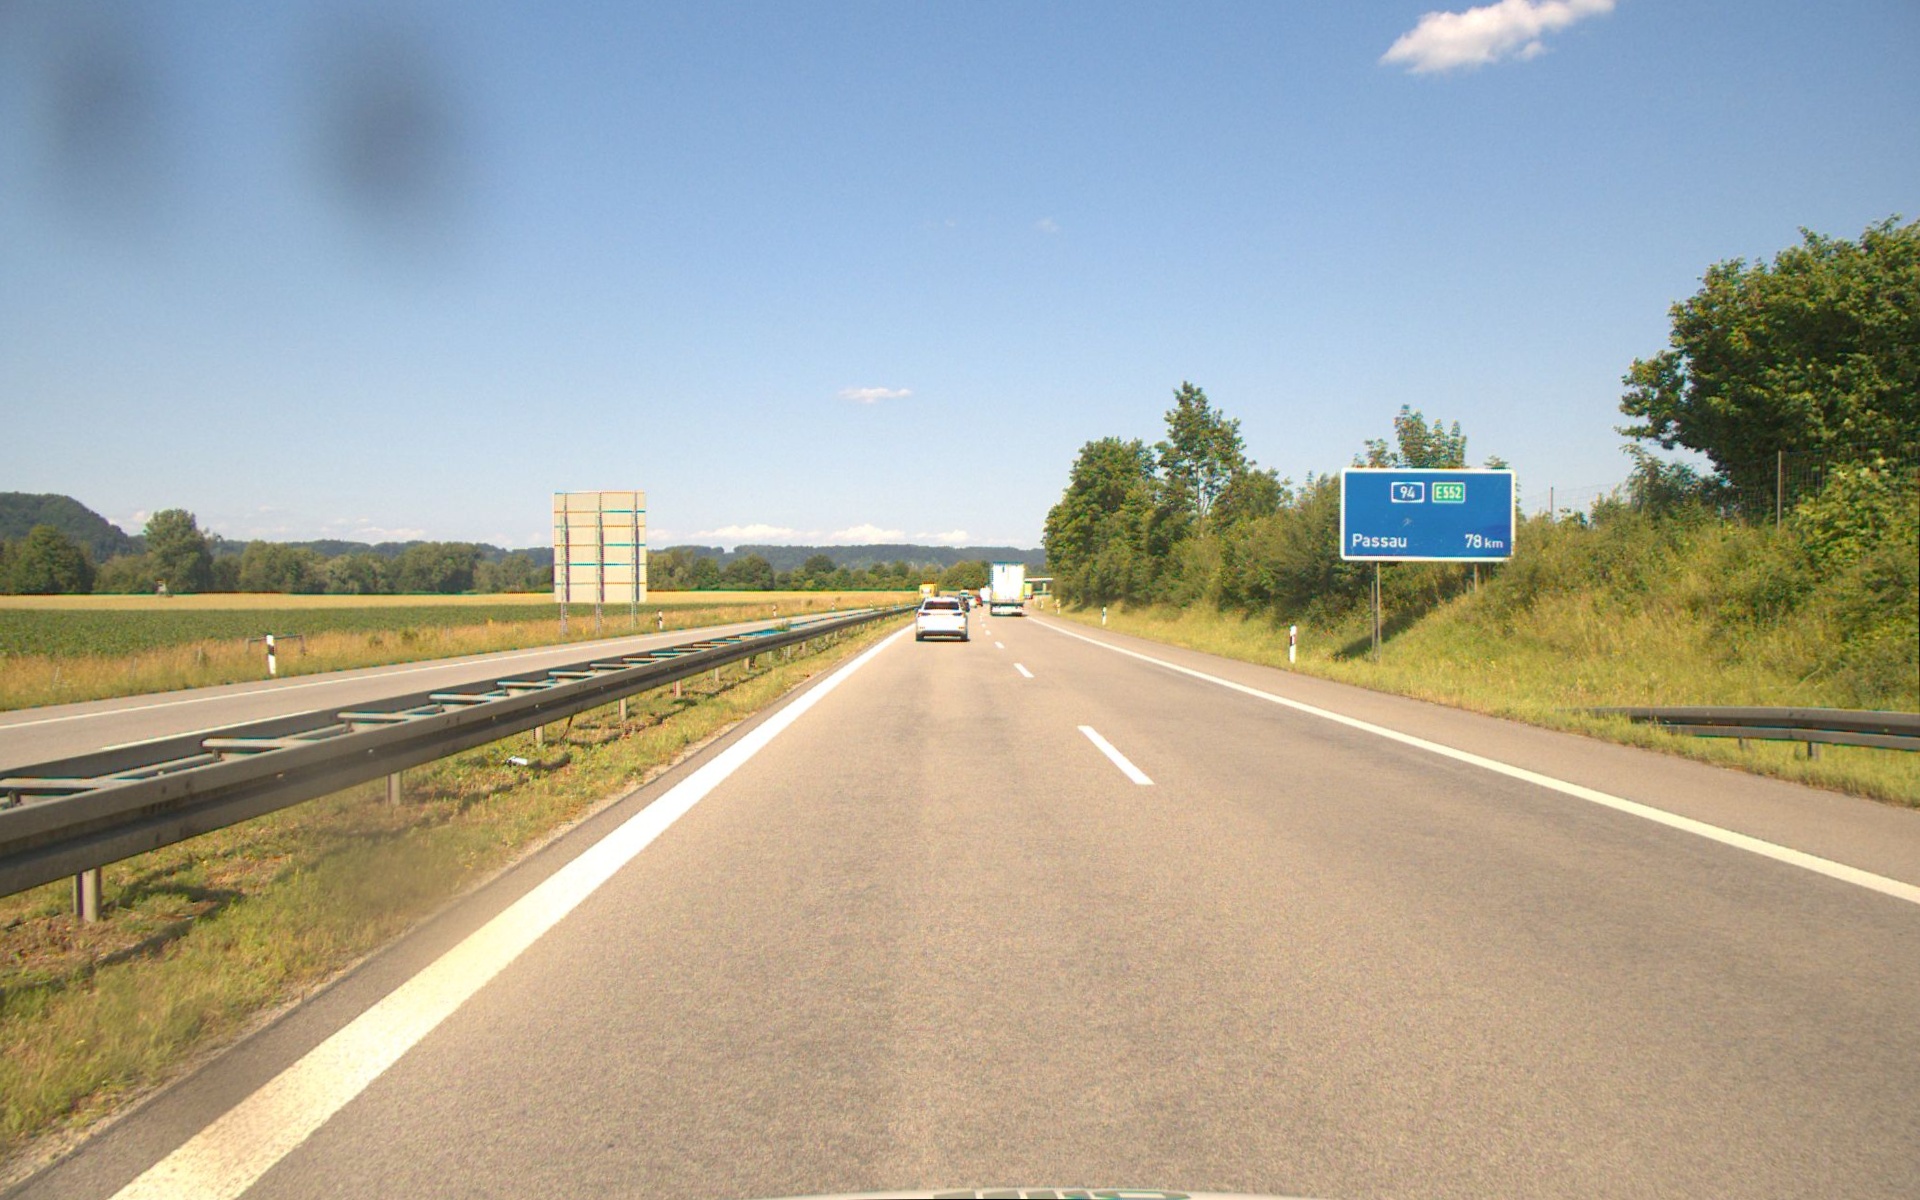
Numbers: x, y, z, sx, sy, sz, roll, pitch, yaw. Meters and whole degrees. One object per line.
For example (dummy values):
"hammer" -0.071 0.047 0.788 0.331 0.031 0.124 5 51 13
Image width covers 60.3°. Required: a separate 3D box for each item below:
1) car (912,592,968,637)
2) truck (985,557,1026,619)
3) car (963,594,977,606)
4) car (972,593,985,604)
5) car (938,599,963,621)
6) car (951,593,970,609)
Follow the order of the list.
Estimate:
"car" -0.691 0.465 56.914 1.803 1.446 5.254 1 0 -1
"truck" 3.623 -0.961 131.137 3.087 4.693 8.907 -1 0 1
"car" 1.239 -0.054 202.691 1.735 1.446 4.365 1 0 1
"car" 2.490 -0.165 222.723 1.734 1.446 4.365 1 0 1
"car" -0.683 0.685 117.165 1.735 1.446 4.495 1 0 0
"car" 0.087 0.095 161.601 1.735 1.446 4.365 1 0 1
